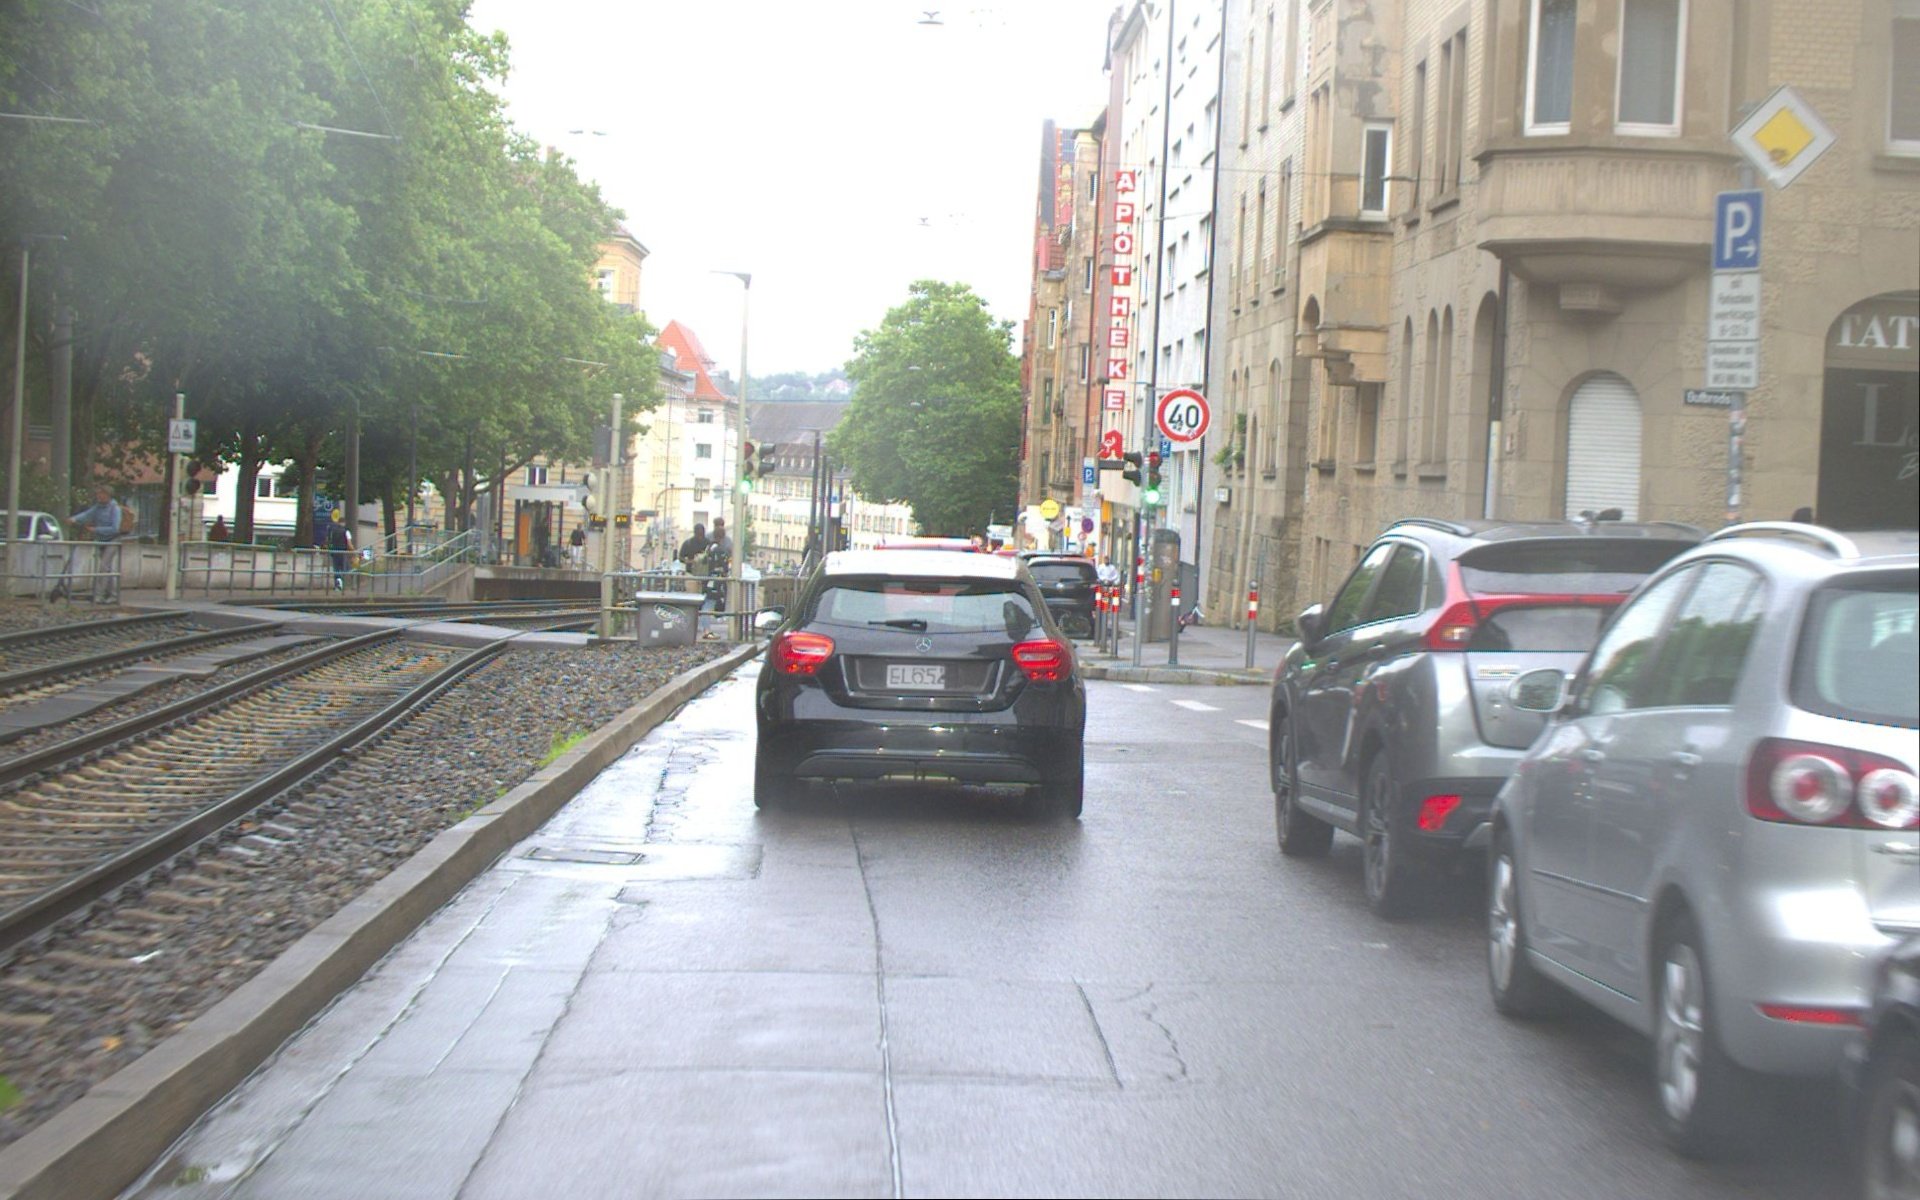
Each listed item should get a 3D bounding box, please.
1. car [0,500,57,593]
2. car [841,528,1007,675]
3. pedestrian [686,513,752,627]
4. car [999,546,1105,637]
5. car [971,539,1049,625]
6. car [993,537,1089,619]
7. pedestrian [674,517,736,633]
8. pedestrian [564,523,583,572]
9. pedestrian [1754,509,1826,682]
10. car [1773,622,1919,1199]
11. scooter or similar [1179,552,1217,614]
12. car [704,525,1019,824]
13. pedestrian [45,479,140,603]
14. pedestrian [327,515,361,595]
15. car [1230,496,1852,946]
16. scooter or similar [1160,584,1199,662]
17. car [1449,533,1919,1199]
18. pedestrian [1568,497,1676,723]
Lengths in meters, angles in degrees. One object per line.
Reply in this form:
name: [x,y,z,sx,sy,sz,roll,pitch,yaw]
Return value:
car: [-16.348,-0.935,57.945,1.658,1.492,3.787,2,1,-7]
car: [-0.422,-0.021,39.924,1.785,1.575,4.000,2,1,-1]
pedestrian: [-4.241,-0.539,60.517,1.137,1.991,1.173,0,1,-4]
car: [1.685,-0.182,64.103,1.827,1.612,3.864,0,1,-1]
car: [1.198,-0.463,84.064,1.759,2.007,4.000,0,1,-1]
car: [1.589,-0.466,68.771,1.759,1.573,4.000,0,1,-1]
pedestrian: [-3.628,-0.359,48.960,0.806,1.628,0.892,0,1,0]
pedestrian: [-13.769,-1.858,122.498,0.518,1.711,0.551,4,1,0]
pedestrian: [8.215,-0.048,34.023,0.548,1.682,0.626,1,1,3]
car: [2.628,0.794,4.943,1.717,1.342,4.462,3,1,-1]
scooter or similar: [5.173,-0.370,74.819,0.448,1.316,1.778,0,1,-8]
car: [-0.547,0.351,19.497,1.580,1.499,3.575,2,1,-1]
pedestrian: [-12.393,-0.845,49.138,1.054,1.713,0.904,2,1,1]
pedestrian: [-13.807,-1.004,77.059,0.534,1.748,0.607,4,1,0]
car: [2.411,0.429,15.396,1.766,1.662,4.333,3,1,-3]
scooter or similar: [3.829,0.393,60.035,0.448,1.316,1.778,0,1,-3]
car: [2.566,0.607,9.795,1.693,1.524,4.000,2,1,0]
pedestrian: [5.295,0.072,27.541,0.694,1.781,0.758,0,1,-2]
